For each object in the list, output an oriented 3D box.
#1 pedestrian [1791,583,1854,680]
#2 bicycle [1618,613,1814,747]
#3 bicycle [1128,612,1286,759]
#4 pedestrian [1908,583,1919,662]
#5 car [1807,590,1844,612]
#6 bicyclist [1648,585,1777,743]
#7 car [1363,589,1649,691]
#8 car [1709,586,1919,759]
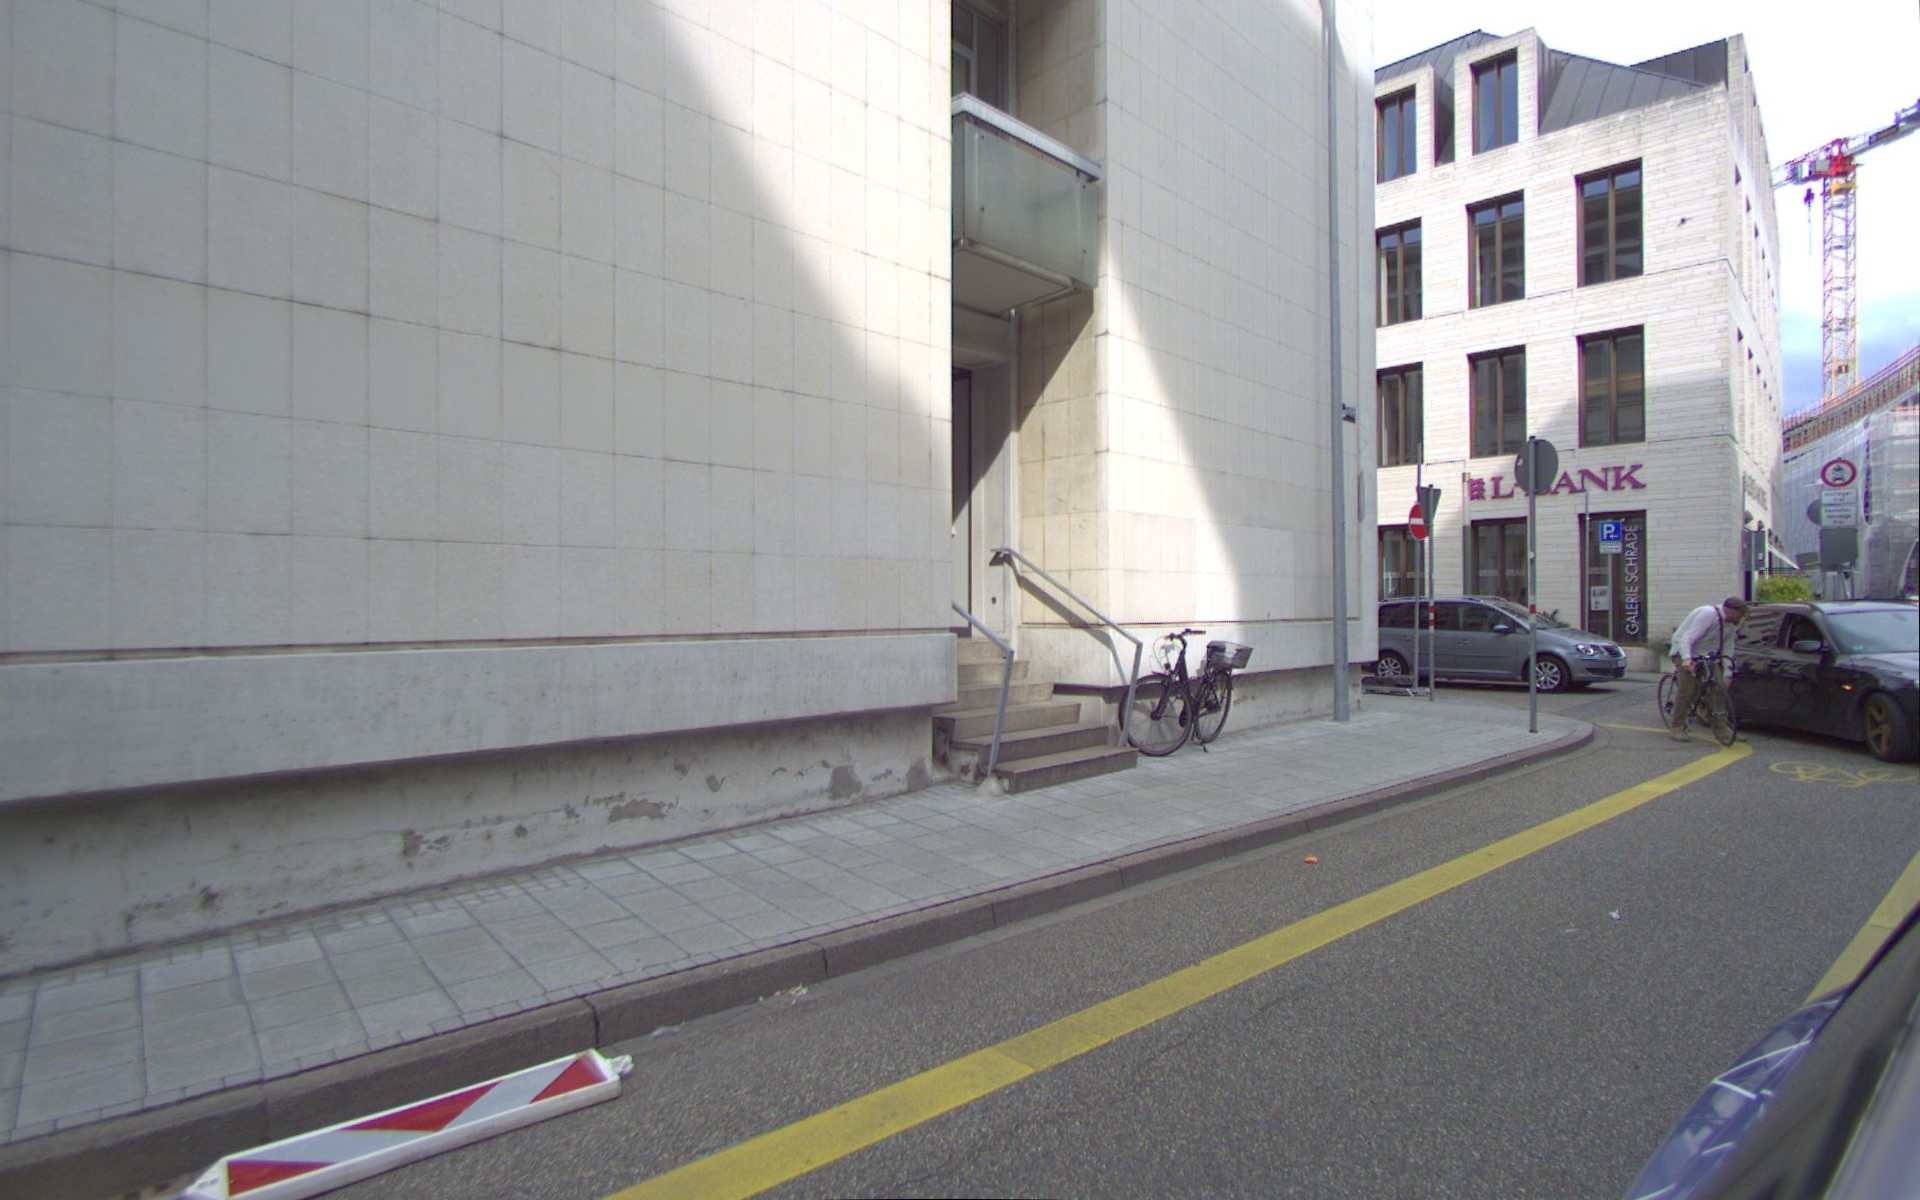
[{"bbox_3d":[16.818,0.591,19.760,0.767,1.854,0.853,0,0,29],"label":"pedestrian"},{"bbox_3d":[8.187,0.784,11.154,0.860,1.209,2.847,0,0,18],"label":"bicycle"},{"bbox_3d":[2.294,0.722,9.274,0.589,1.182,1.786,0,0,44],"label":"bicycle"},{"bbox_3d":[22.990,0.518,23.909,0.859,1.854,0.762,0,0,44],"label":"pedestrian"},{"bbox_3d":[62.814,0.058,73.493,1.578,1.505,3.952,0,0,33],"label":"car"},{"bbox_3d":[8.093,0.652,10.932,0.881,1.614,0.872,0,0,19],"label":"bicyclist"},{"bbox_3d":[9.646,0.615,18.129,1.784,1.610,4.187,-1,1,-42],"label":"car"},{"bbox_3d":[9.439,0.621,10.034,1.690,1.509,3.754,-1,0,10],"label":"car"}]
